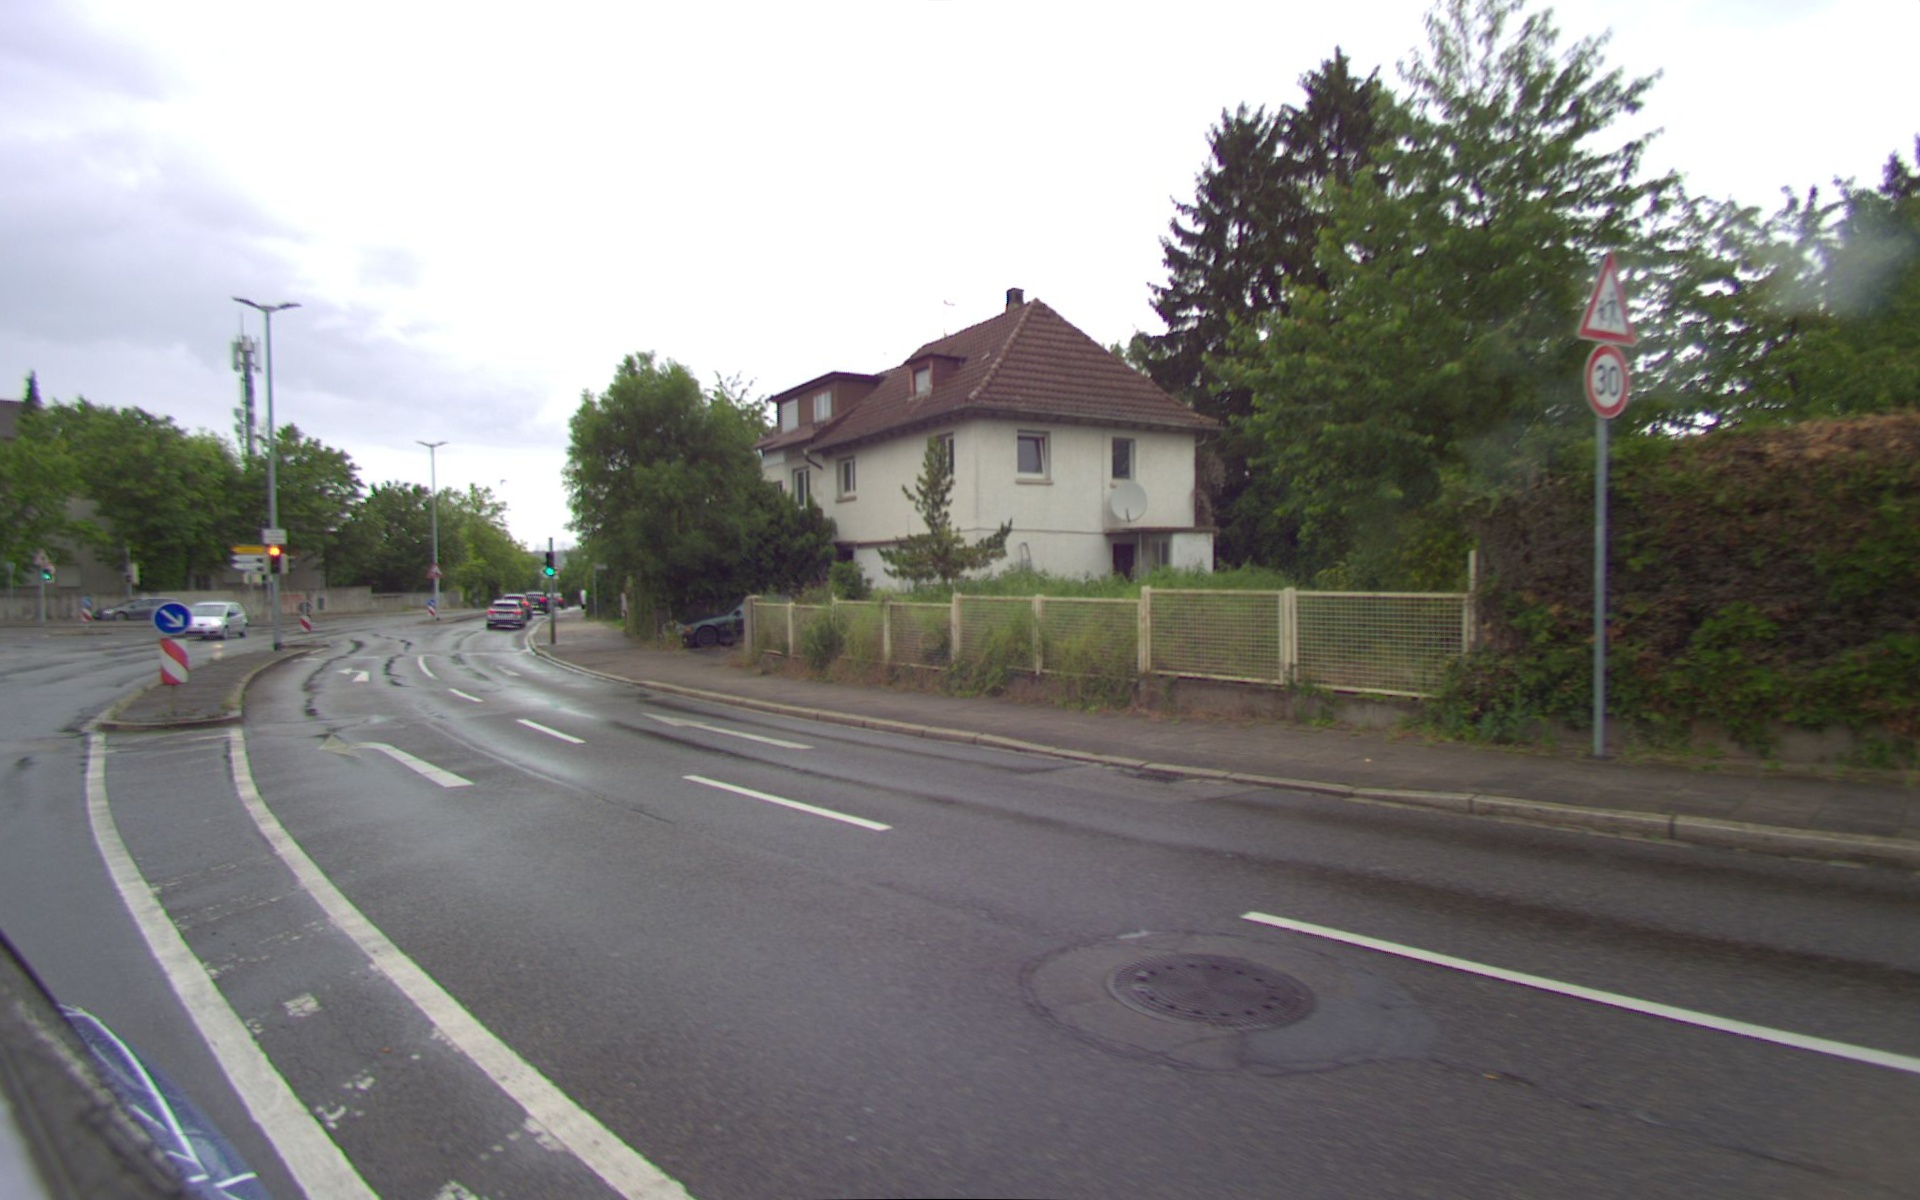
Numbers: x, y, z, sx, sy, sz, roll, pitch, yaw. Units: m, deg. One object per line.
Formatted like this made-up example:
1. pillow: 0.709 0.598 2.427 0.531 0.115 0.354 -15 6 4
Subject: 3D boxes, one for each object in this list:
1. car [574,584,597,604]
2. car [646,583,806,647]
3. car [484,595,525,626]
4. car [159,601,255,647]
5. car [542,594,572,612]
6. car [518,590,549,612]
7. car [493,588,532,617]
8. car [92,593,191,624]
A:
1. car: -34.954 -0.581 94.506 1.791 1.730 4.013 -1 2 -17
2. car: -6.666 0.378 28.917 3.935 1.405 1.938 -6 4 -34
3. car: -24.228 0.537 53.905 1.652 1.460 4.704 -1 2 -20
4. car: -31.420 0.964 42.359 1.966 1.669 4.013 -1 2 -17
5. car: -37.003 0.264 93.005 1.839 1.487 4.458 1 1 -13
6. car: -32.514 0.040 77.191 1.838 1.565 4.461 1 1 -19
7. car: -28.760 0.146 65.158 1.856 1.690 4.245 -1 2 -18
8. car: -48.869 0.486 60.514 1.993 1.669 4.183 1 2 30
